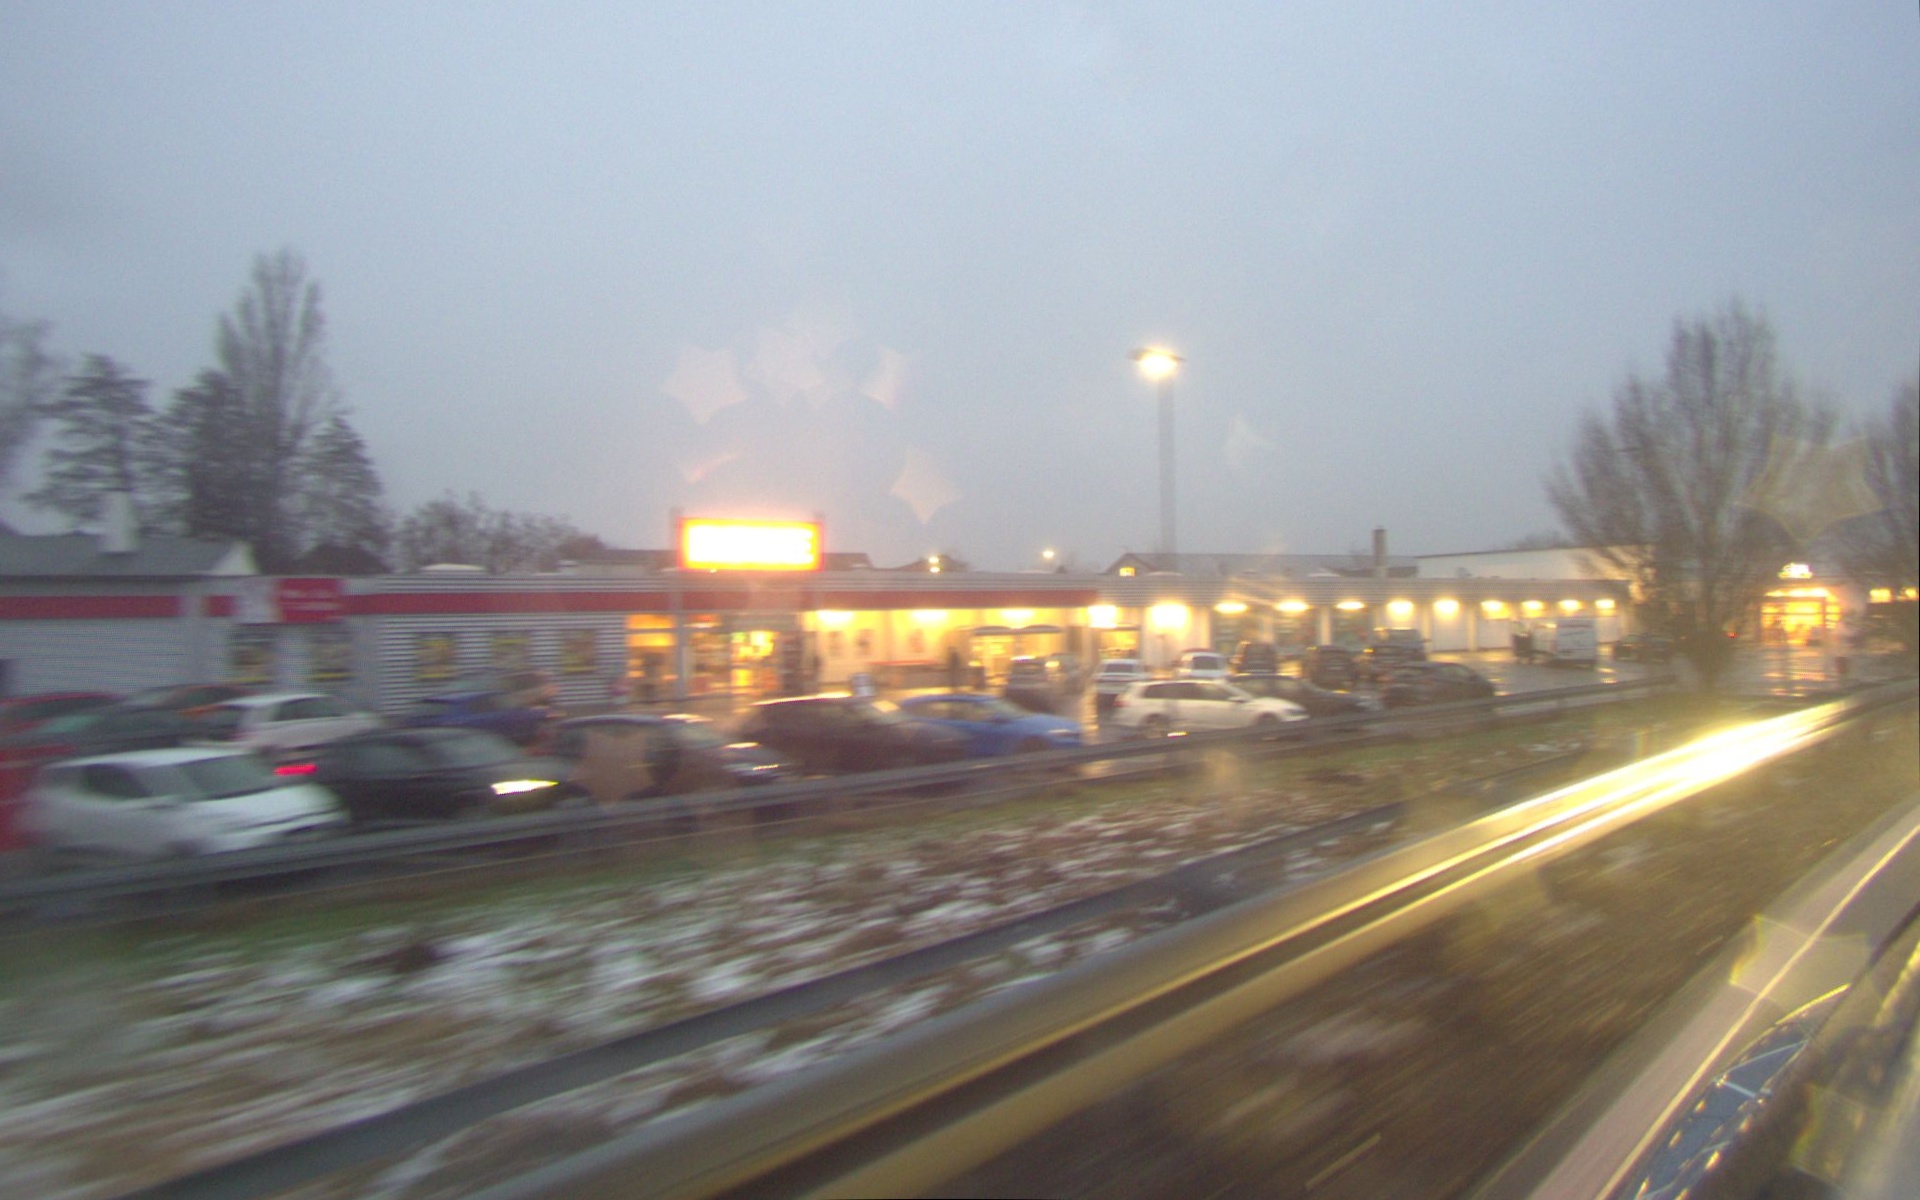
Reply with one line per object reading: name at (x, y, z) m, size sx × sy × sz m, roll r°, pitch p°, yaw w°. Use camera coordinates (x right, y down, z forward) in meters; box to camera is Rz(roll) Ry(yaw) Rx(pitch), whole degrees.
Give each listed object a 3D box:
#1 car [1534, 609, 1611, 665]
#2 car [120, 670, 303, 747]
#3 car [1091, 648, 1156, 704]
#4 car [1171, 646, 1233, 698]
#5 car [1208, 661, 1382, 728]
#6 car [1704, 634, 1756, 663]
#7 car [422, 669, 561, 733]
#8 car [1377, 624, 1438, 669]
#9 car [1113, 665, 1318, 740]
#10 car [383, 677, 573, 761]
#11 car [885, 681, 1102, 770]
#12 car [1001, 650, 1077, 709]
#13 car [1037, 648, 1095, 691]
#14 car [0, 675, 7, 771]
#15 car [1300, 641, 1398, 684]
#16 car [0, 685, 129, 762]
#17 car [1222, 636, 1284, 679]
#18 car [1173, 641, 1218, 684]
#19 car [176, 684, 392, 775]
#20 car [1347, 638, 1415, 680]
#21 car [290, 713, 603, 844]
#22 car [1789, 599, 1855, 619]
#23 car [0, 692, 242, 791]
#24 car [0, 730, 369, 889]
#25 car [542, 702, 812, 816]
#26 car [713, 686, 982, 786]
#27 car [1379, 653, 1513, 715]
car at (29.670, 1.727, 49.175) m, size 2.253 × 2.470 × 5.204 m, roll 0°, pitch 1°, yaw 21°
car at (-18.780, 2.683, 25.626) m, size 1.542 × 1.519 × 3.832 m, roll 0°, pitch 0°, yaw 6°
car at (5.565, 2.490, 34.029) m, size 1.779 × 1.555 × 4.523 m, roll -1°, pitch 0°, yaw 14°
car at (8.594, 2.513, 36.257) m, size 1.796 × 1.661 × 4.457 m, roll 0°, pitch -2°, yaw 9°
car at (8.563, 2.381, 26.029) m, size 4.127 × 1.414 × 1.840 m, roll 0°, pitch 0°, yaw 20°
car at (42.457, 2.670, 55.866) m, size 1.512 × 1.355 × 3.559 m, roll 0°, pitch 1°, yaw 24°
car at (-12.859, 2.733, 28.040) m, size 1.545 × 1.369 × 3.825 m, roll 0°, pitch 0°, yaw 12°
car at (21.472, 2.193, 48.695) m, size 1.860 × 1.983 × 4.936 m, roll -1°, pitch -1°, yaw 15°
car at (6.183, 2.418, 24.486) m, size 4.645 × 1.414 × 1.892 m, roll 0°, pitch 0°, yaw 20°
car at (-11.272, 2.728, 24.031) m, size 1.721 × 1.443 × 4.296 m, roll 0°, pitch 0°, yaw 15°
car at (0.726, 2.506, 20.739) m, size 4.123 × 1.414 × 1.894 m, roll 0°, pitch 0°, yaw 17°
car at (2.610, 2.509, 32.644) m, size 1.579 × 1.606 × 3.609 m, roll -1°, pitch 0°, yaw 20°
car at (4.043, 2.591, 38.287) m, size 1.577 × 1.364 × 3.614 m, roll -1°, pitch 0°, yaw 16°
car at (-20.307, 2.458, 18.455) m, size 1.697 × 1.892 × 4.020 m, roll 0°, pitch 0°, yaw 12°
car at (14.842, 2.393, 38.745) m, size 3.205 × 1.555 × 1.388 m, roll -1°, pitch -2°, yaw 10°
car at (-21.842, 2.863, 23.595) m, size 1.542 × 1.411 × 3.832 m, roll 0°, pitch 0°, yaw 6°
car at (12.567, 2.430, 43.586) m, size 1.769 × 1.615 × 3.975 m, roll 0°, pitch 0°, yaw 5°
car at (9.715, 2.540, 41.758) m, size 1.702 × 1.520 × 4.009 m, roll 0°, pitch 0°, yaw 13°
car at (-14.341, 2.688, 21.721) m, size 1.547 × 1.448 × 3.741 m, roll 0°, pitch 0°, yaw 17°
car at (17.341, 2.416, 41.831) m, size 1.690 × 1.536 × 3.251 m, roll -1°, pitch -1°, yaw 6°
car at (-7.368, 2.496, 14.617) m, size 3.940 × 1.438 × 1.625 m, roll 0°, pitch 0°, yaw 13°
car at (74.599, 0.752, 87.600) m, size 1.771 × 1.617 × 4.016 m, roll 0°, pitch 1°, yaw -32°
car at (-16.997, 2.773, 20.554) m, size 1.550 × 1.448 × 3.735 m, roll 0°, pitch 0°, yaw 21°
car at (-9.853, 2.558, 12.845) m, size 3.940 × 1.457 × 1.790 m, roll 0°, pitch 0°, yaw 13°
car at (-4.540, 2.505, 16.384) m, size 3.940 × 1.438 × 1.625 m, roll 0°, pitch 0°, yaw 13°
car at (-2.001, 2.415, 18.482) m, size 4.517 × 1.473 × 1.924 m, roll -1°, pitch 0°, yaw 12°
car at (14.126, 2.385, 29.391) m, size 3.737 × 1.447 × 1.775 m, roll -1°, pitch 1°, yaw -32°
